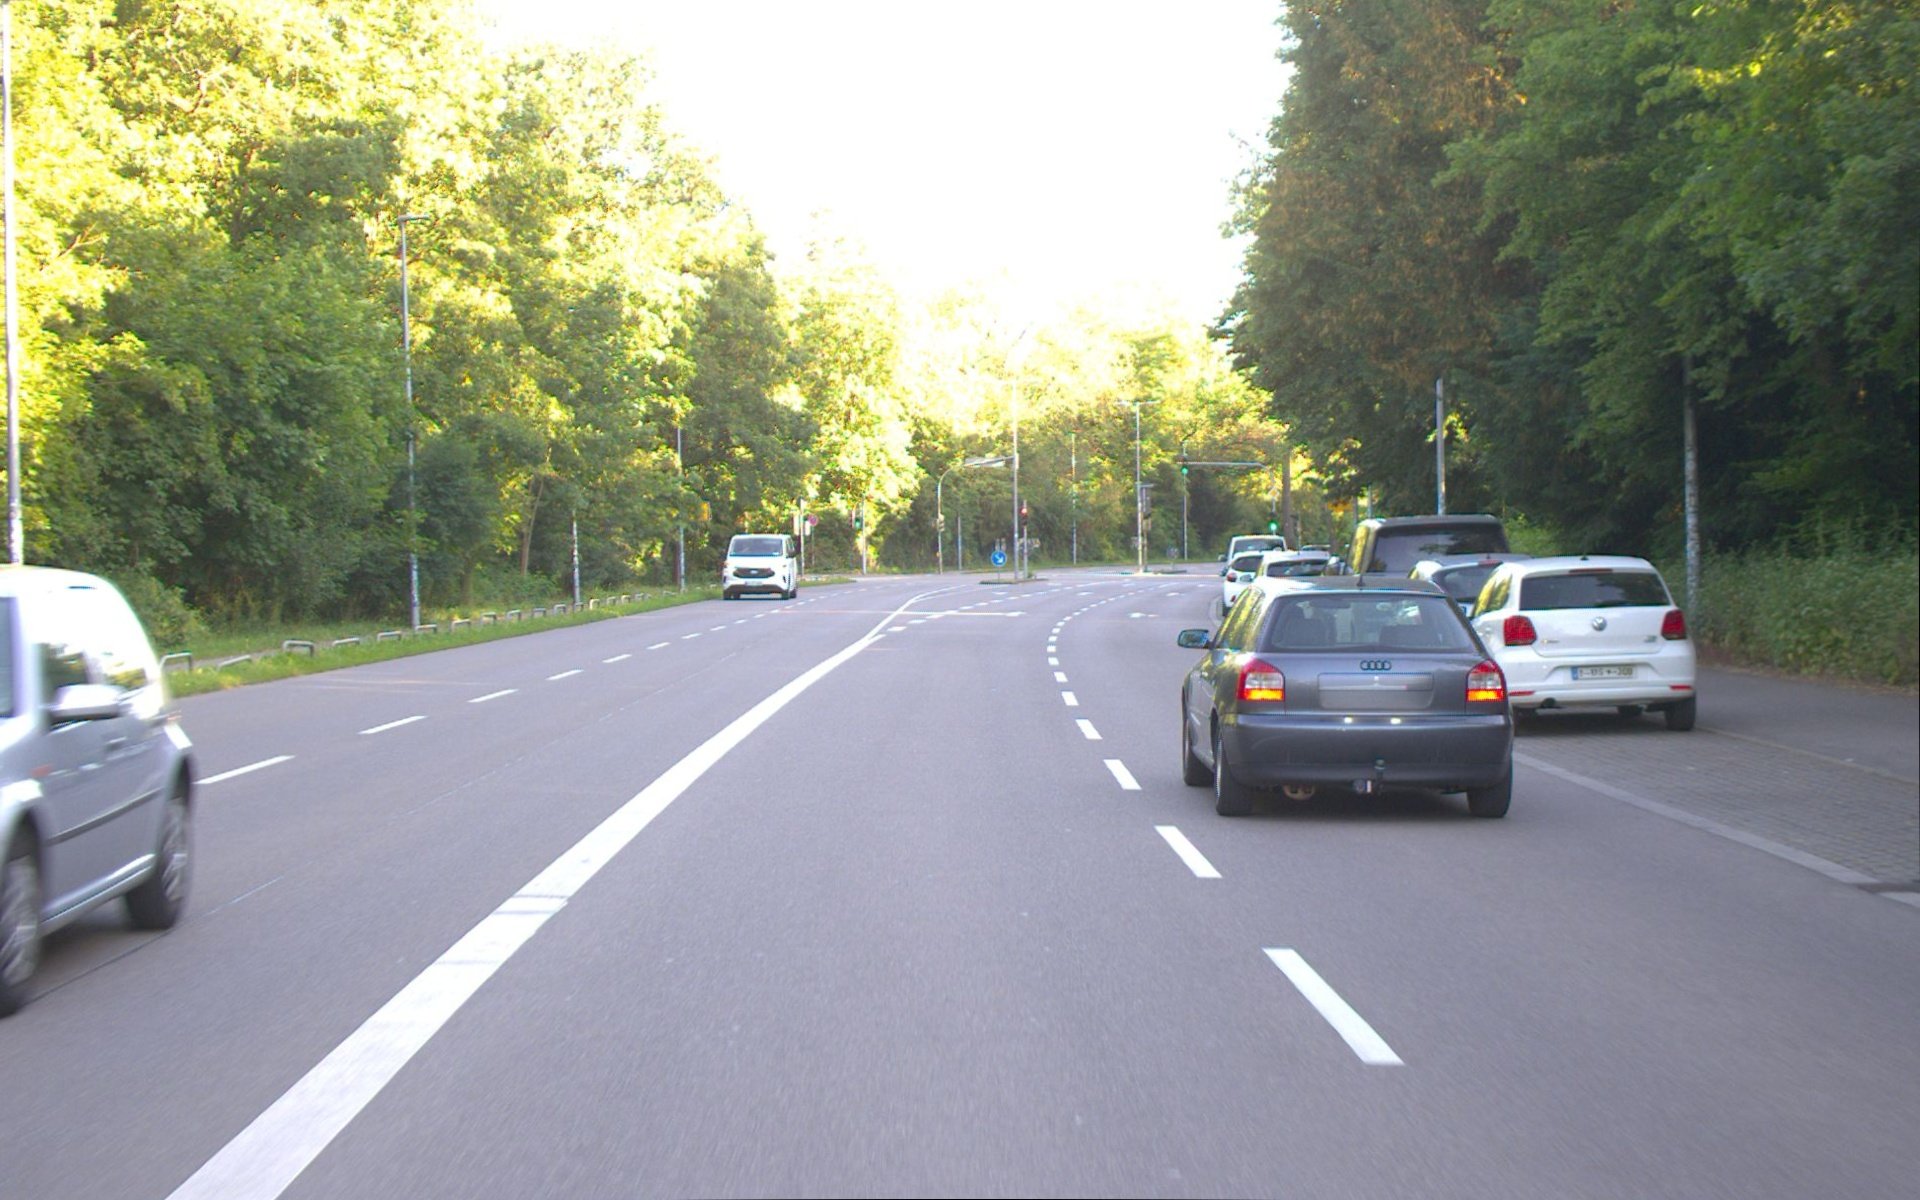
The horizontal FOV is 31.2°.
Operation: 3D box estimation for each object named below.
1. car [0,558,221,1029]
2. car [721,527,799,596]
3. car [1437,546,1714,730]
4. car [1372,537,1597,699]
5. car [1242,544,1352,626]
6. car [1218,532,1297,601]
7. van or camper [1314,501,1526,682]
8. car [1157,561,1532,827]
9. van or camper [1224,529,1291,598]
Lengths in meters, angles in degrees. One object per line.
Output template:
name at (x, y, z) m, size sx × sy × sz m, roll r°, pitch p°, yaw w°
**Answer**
car at (-3.795, 0.571, 11.918) m, size 1.681 × 1.402 × 3.890 m, roll 1°, pitch 1°, yaw -1°
car at (-6.024, -1.149, 103.872) m, size 1.993 × 1.985 × 4.997 m, roll 2°, pitch 0°, yaw 0°
car at (5.228, 0.273, 29.671) m, size 1.728 × 1.436 × 4.100 m, roll -1°, pitch 1°, yaw 1°
car at (5.254, 0.134, 34.894) m, size 1.728 × 1.538 × 4.217 m, roll 0°, pitch 1°, yaw 1°
car at (6.135, -0.299, 62.961) m, size 1.728 × 1.436 × 4.666 m, roll 0°, pitch 1°, yaw 2°
car at (6.690, -0.783, 77.669) m, size 1.728 × 1.517 × 4.089 m, roll 0°, pitch 1°, yaw 4°
van or camper at (5.373, -0.146, 40.777) m, size 1.893 × 1.942 × 5.134 m, roll -2°, pitch 1°, yaw 2°
car at (2.254, 0.499, 21.128) m, size 1.727 × 1.436 × 4.090 m, roll 0°, pitch 1°, yaw -2°
van or camper at (8.656, -1.081, 100.249) m, size 1.832 × 1.963 × 5.341 m, roll 0°, pitch 1°, yaw 4°
